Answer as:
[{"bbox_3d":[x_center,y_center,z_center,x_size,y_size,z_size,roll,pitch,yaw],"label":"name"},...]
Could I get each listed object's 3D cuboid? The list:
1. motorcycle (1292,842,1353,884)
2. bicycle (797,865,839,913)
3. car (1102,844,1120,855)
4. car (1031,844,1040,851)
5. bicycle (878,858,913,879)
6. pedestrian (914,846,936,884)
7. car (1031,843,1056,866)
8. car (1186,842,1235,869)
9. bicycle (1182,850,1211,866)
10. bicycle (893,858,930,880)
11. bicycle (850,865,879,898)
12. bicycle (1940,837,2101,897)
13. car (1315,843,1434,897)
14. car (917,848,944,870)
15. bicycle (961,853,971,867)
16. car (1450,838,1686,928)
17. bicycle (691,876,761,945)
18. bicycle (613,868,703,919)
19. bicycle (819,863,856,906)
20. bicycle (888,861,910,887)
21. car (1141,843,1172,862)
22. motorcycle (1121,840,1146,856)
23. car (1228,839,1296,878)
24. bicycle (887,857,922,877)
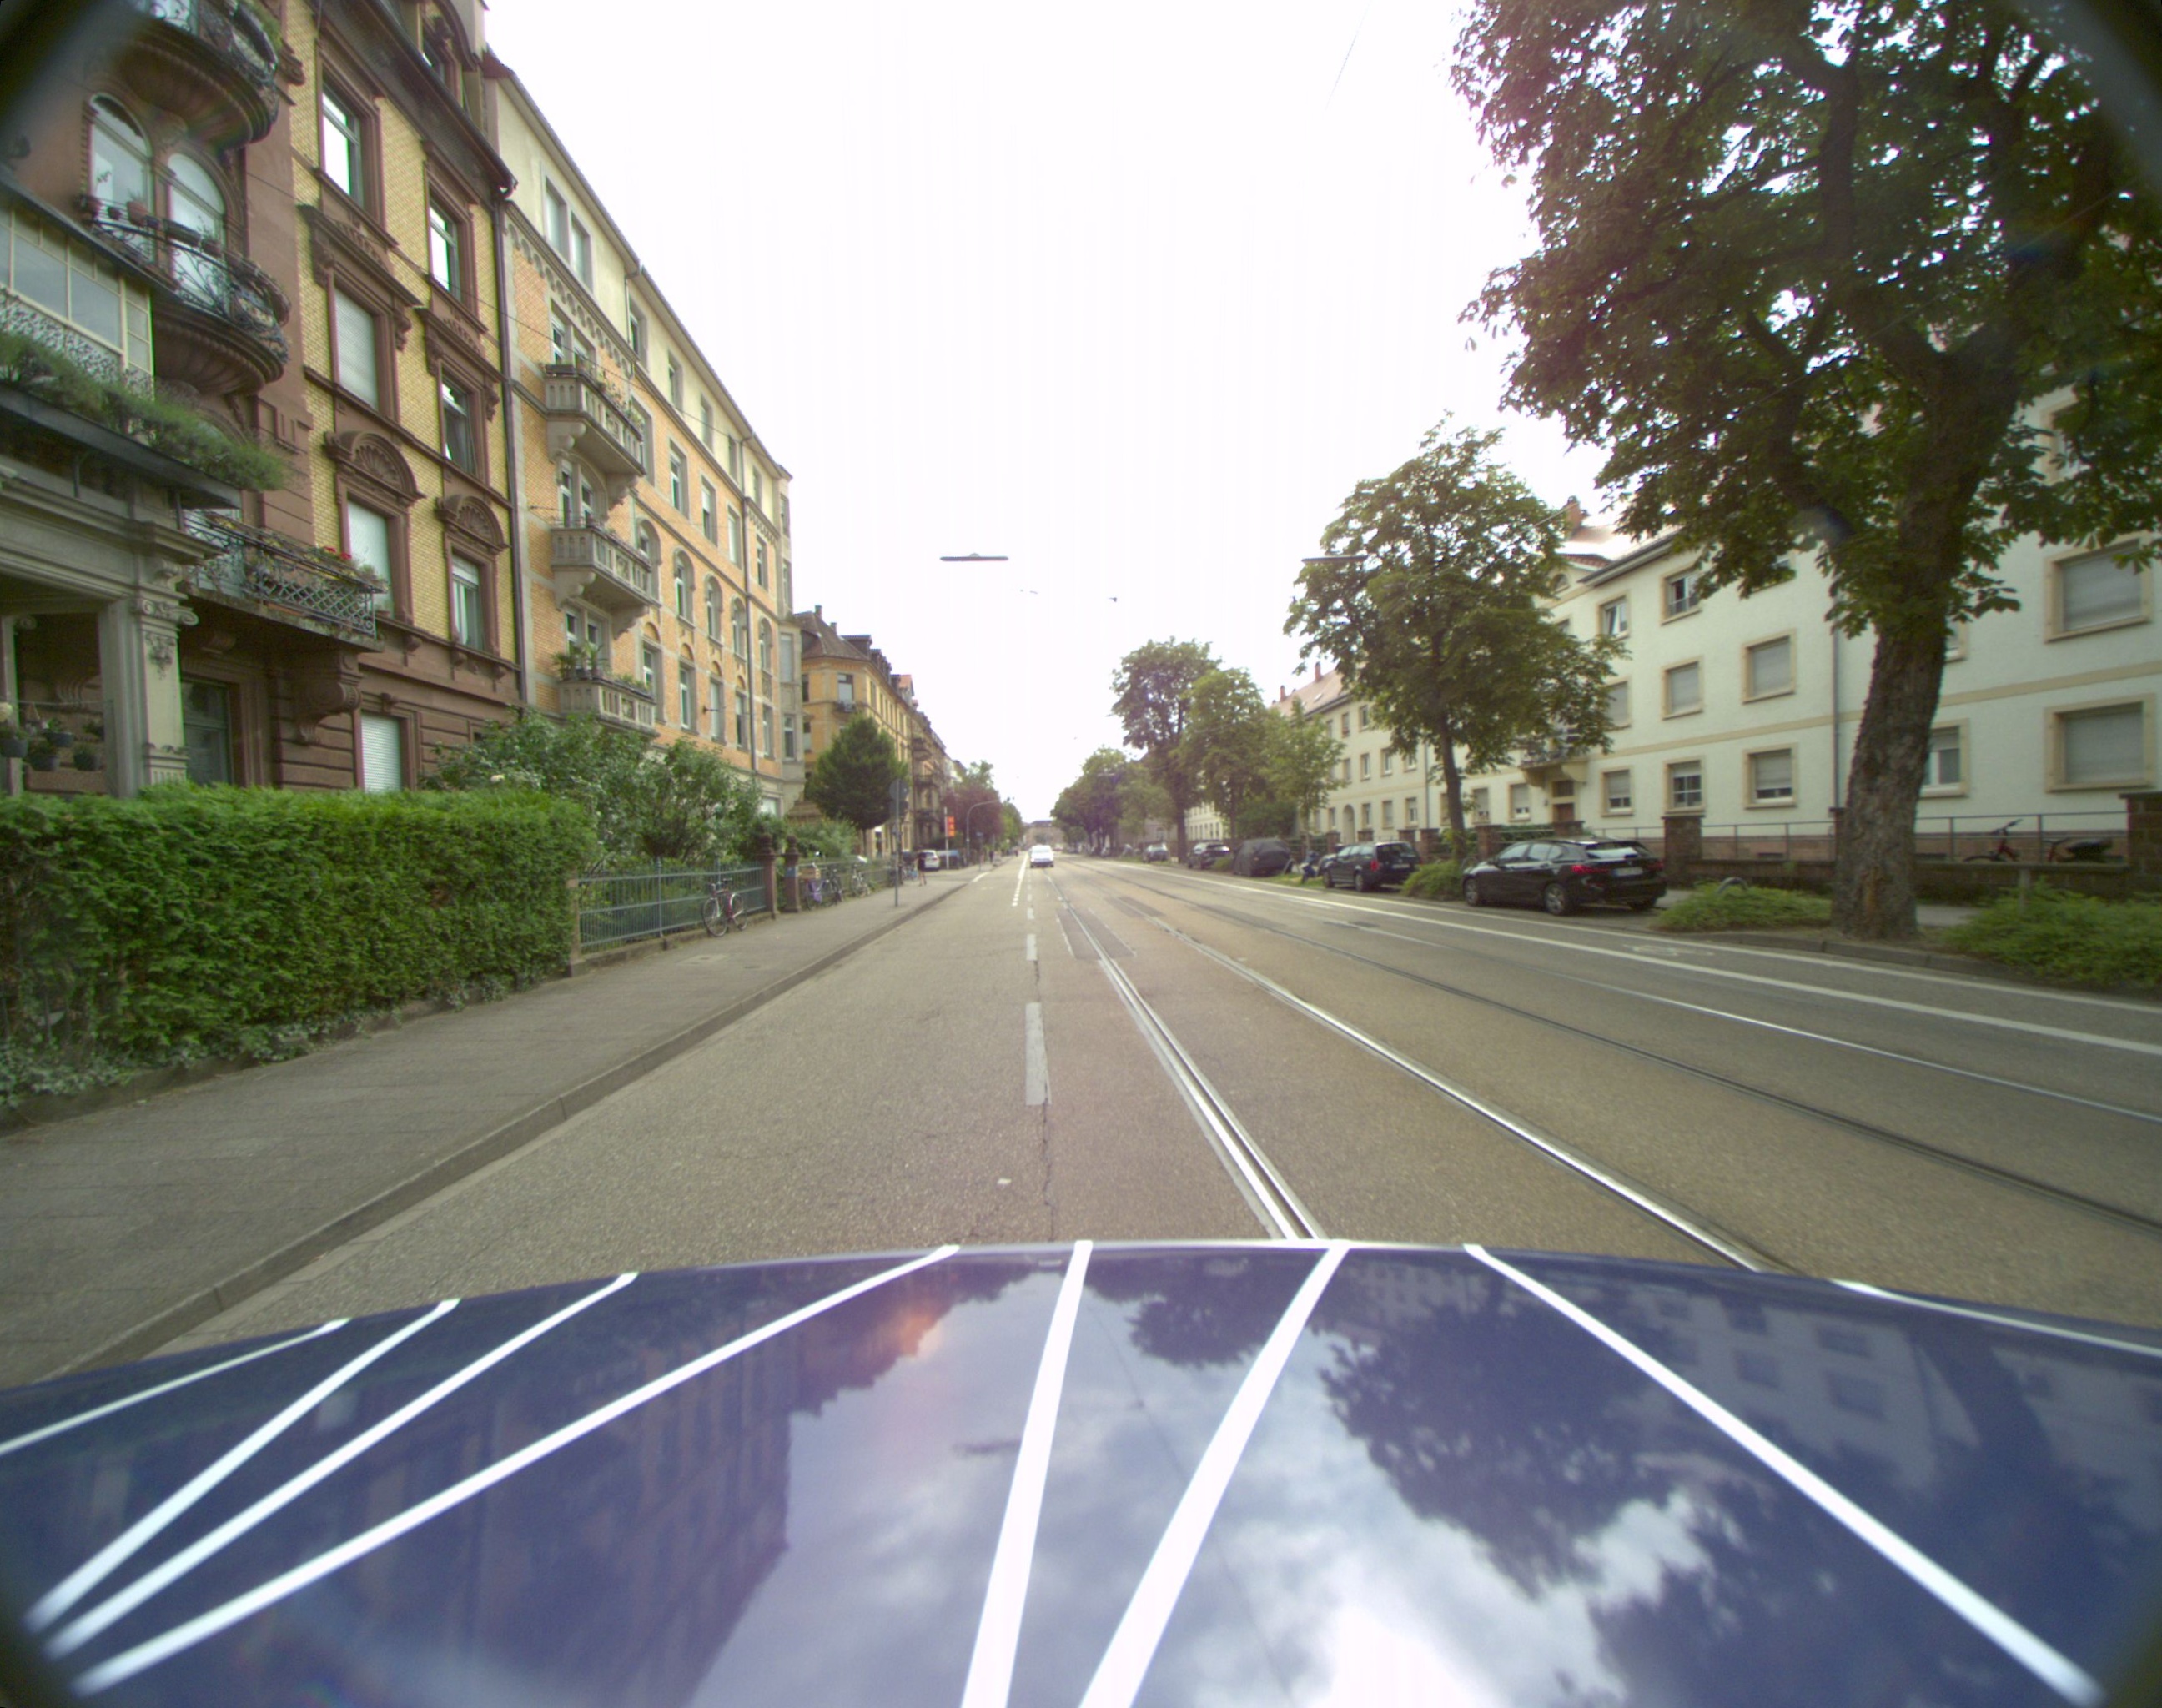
[{"bbox_3d":[8.626,0.303,27.128,1.872,1.253,0.591,-7,2,-7],"label":"motorcycle"},{"bbox_3d":[-6.680,0.877,19.376,0.580,1.105,1.671,2,1,-4],"label":"bicycle"},{"bbox_3d":[3.943,-0.613,100.582,1.732,1.462,4.297,-2,1,-6],"label":"car"},{"bbox_3d":[-11.432,-1.555,192.768,1.947,1.675,3.999,-2,1,1],"label":"car"},{"bbox_3d":[-10.335,0.826,42.354,1.890,1.121,0.533,-1,1,18],"label":"bicycle"},{"bbox_3d":[-6.674,0.465,32.523,0.732,1.614,0.835,-2,1,-4],"label":"pedestrian"},{"bbox_3d":[-2.982,0.019,60.636,1.876,1.670,5.129,-2,1,-3],"label":"car"},{"bbox_3d":[7.407,0.062,43.852,1.702,1.462,4.297,-2,1,-6],"label":"car"},{"bbox_3d":[7.407,0.255,48.601,1.672,0.965,0.672,-2,1,-12],"label":"bicycle"},{"bbox_3d":[-8.961,0.788,40.250,0.629,1.106,1.878,-1,1,39],"label":"bicycle"},{"bbox_3d":[-7.102,0.880,24.968,0.580,0.977,1.671,2,1,-4],"label":"bicycle"},{"bbox_3d":[14.413,0.178,11.722,0.510,0.858,1.549,-2,1,-3],"label":"bicycle"},{"bbox_3d":[8.808,0.416,23.243,1.701,1.415,4.298,-3,1,-3],"label":"car"},{"bbox_3d":[-11.389,0.338,57.679,1.757,1.517,3.996,-2,1,-9],"label":"car"},{"bbox_3d":[-9.621,0.476,63.612,0.631,1.106,1.873,-2,1,-2],"label":"bicycle"},{"bbox_3d":[9.407,0.468,15.181,1.701,1.415,4.298,-5,1,-3],"label":"car"},{"bbox_3d":[-6.512,1.002,14.022,0.580,1.106,1.671,-2,1,-4],"label":"bicycle"},{"bbox_3d":[-9.761,0.899,17.574,1.671,1.106,0.611,-1,1,-5],"label":"bicycle"},{"bbox_3d":[-6.816,0.843,21.344,0.580,1.105,1.671,2,1,-4],"label":"bicycle"},{"bbox_3d":[-7.386,0.816,30.850,0.580,0.977,1.671,2,1,-4],"label":"bicycle"},{"bbox_3d":[6.226,-0.126,63.081,1.702,1.462,4.297,-2,1,-6],"label":"car"},{"bbox_3d":[5.418,-0.632,78.738,2.312,1.382,0.838,-6,2,28],"label":"motorcycle"},{"bbox_3d":[8.161,0.158,34.671,1.790,1.602,4.298,-2,1,-3],"label":"car"},{"bbox_3d":[-10.077,0.744,43.429,1.890,1.121,0.533,-1,1,13],"label":"bicycle"}]
